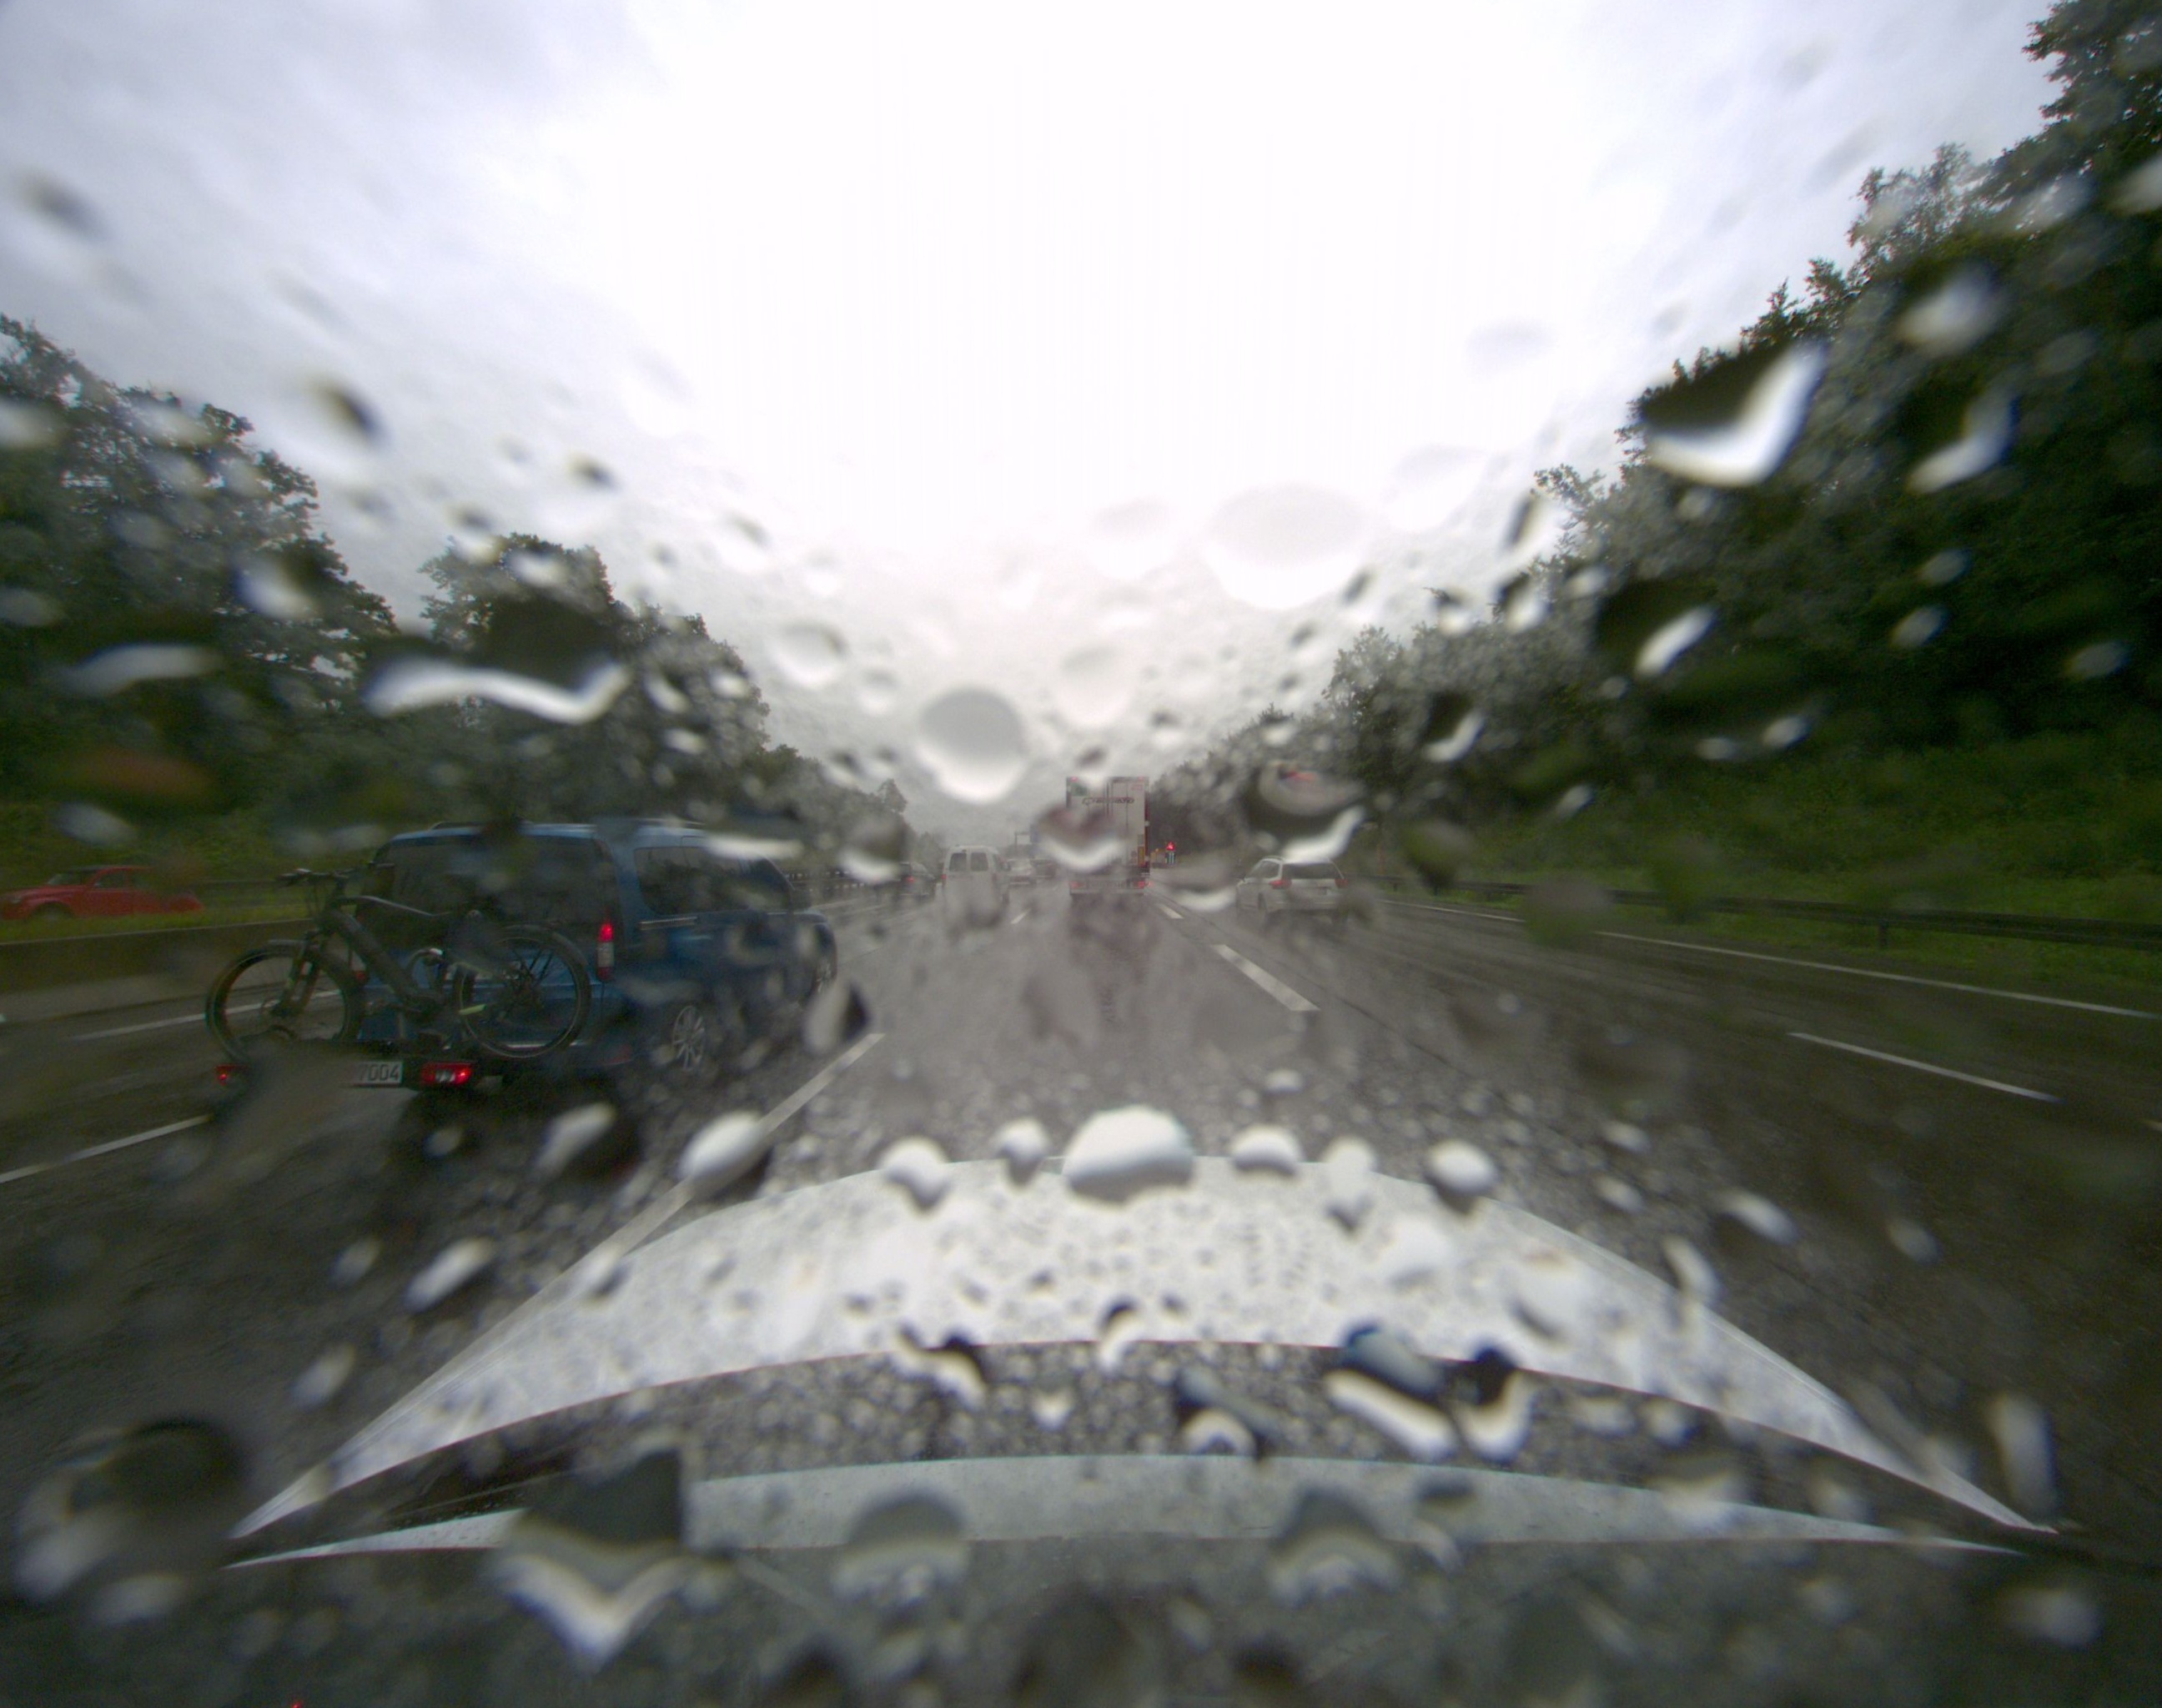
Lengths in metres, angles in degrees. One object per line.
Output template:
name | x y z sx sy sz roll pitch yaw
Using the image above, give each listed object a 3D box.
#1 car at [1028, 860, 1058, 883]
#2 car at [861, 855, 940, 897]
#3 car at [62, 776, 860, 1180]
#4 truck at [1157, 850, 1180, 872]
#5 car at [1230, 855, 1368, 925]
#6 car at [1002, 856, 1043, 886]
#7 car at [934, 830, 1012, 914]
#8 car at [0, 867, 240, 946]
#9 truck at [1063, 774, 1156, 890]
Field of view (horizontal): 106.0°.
car | -2.808 1.301 61.116 1.838 1.591 4.468 0 0 2
car | -7.070 0.809 32.369 2.084 1.504 4.753 0 0 0
car | -3.661 0.592 6.396 2.260 1.912 5.019 0 0 2
truck | 12.122 0.939 113.204 2.579 2.941 6.458 0 0 2
car | 4.787 0.731 18.632 2.000 1.394 4.568 0 0 1
car | -3.205 0.915 45.319 1.838 1.591 4.073 0 0 2
car | -3.524 0.558 27.562 2.208 2.573 5.009 0 0 -3
car | -22.661 1.141 19.040 1.838 1.591 3.946 0 0 2
truck | 0.971 -0.624 30.786 2.862 3.562 11.302 0 -1 1
